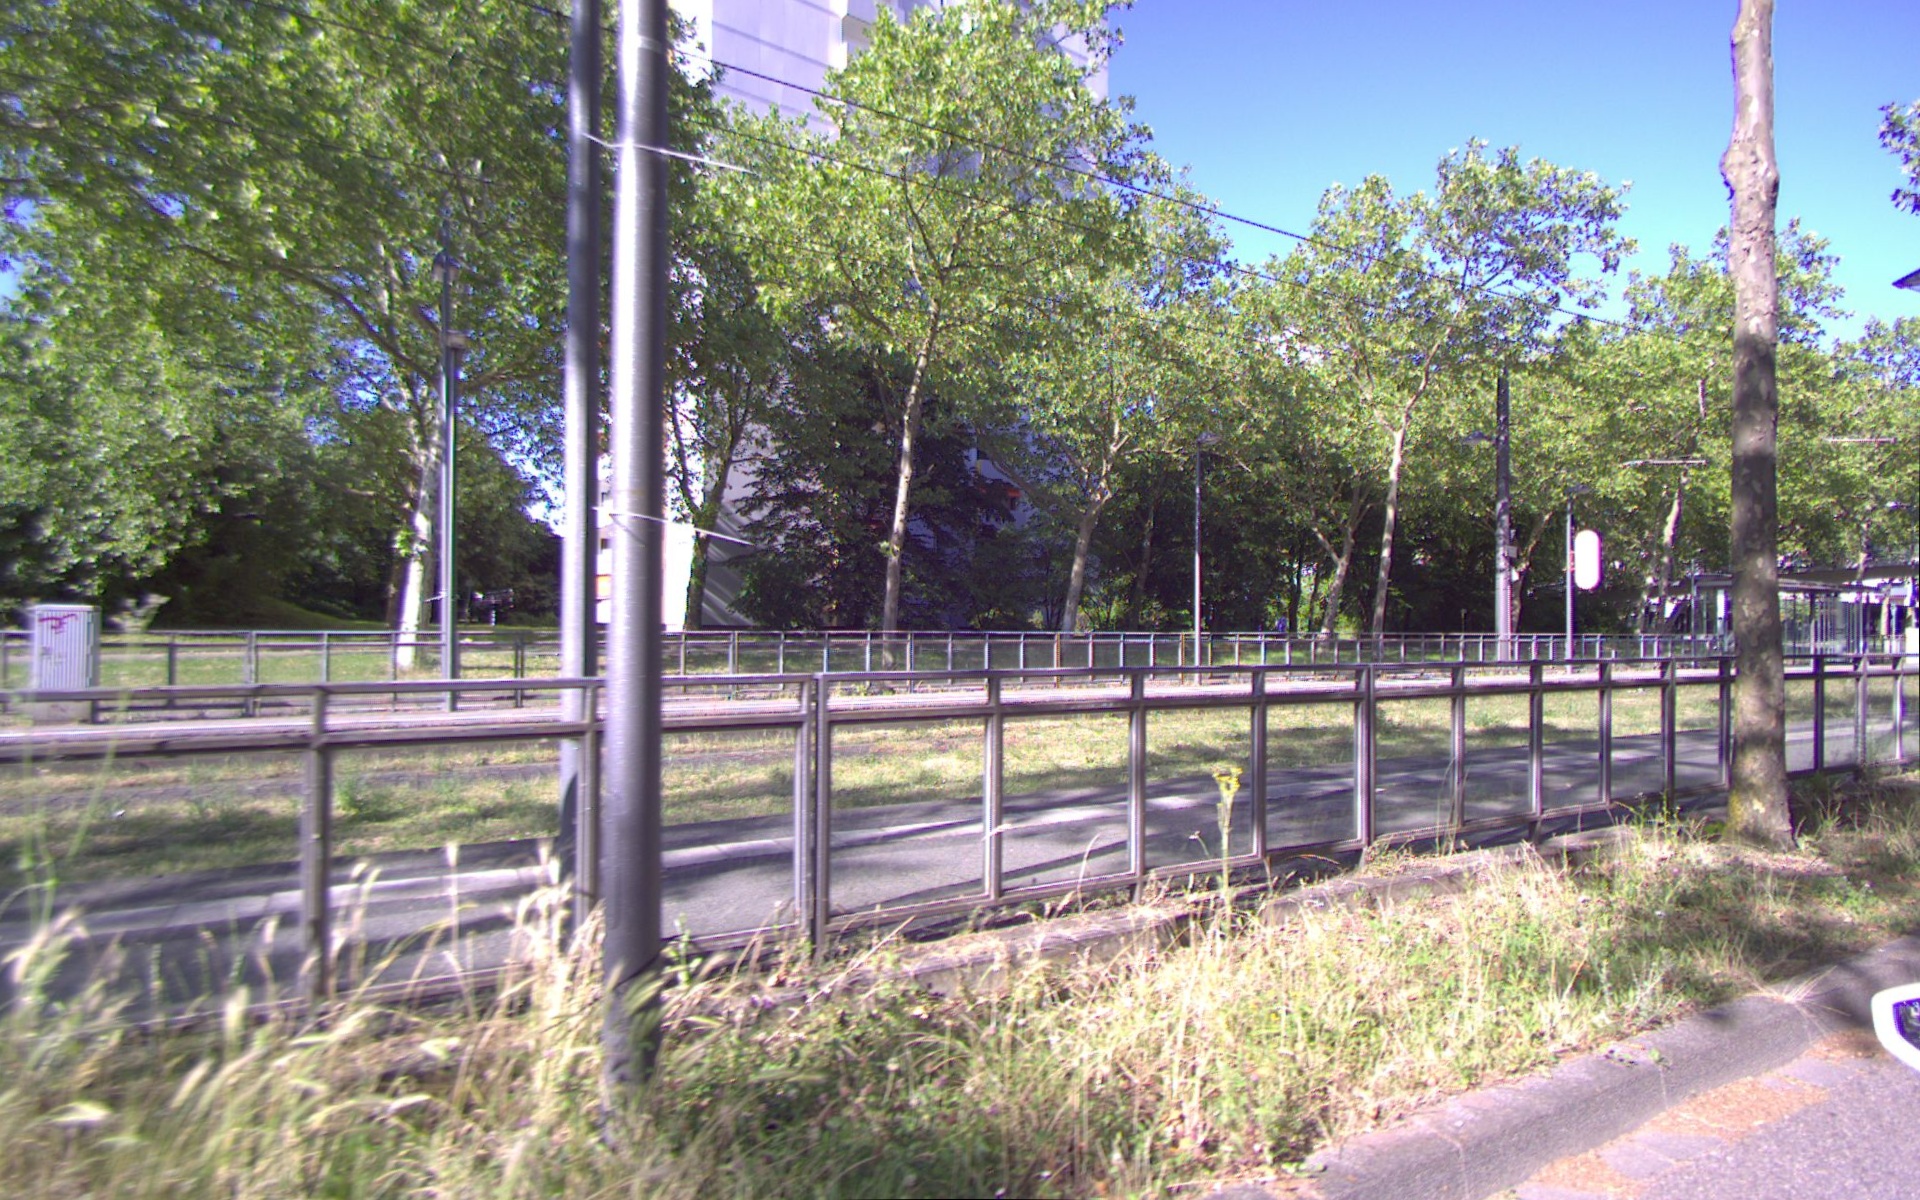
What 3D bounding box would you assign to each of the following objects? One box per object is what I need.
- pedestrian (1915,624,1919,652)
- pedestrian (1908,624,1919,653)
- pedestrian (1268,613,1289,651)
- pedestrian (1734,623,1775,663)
[{"bbox_3d":[58.220,2.317,60.711,0.643,1.683,0.644,1,-1,-34],"label":"pedestrian"},{"bbox_3d":[57.543,2.310,60.424,0.643,1.683,0.644,1,-1,-34],"label":"pedestrian"},{"bbox_3d":[14.559,1.459,45.862,0.642,1.683,0.645,1,0,-29],"label":"pedestrian"},{"bbox_3d":[24.434,1.316,30.907,0.754,1.199,0.763,1,-1,-29],"label":"pedestrian"}]
